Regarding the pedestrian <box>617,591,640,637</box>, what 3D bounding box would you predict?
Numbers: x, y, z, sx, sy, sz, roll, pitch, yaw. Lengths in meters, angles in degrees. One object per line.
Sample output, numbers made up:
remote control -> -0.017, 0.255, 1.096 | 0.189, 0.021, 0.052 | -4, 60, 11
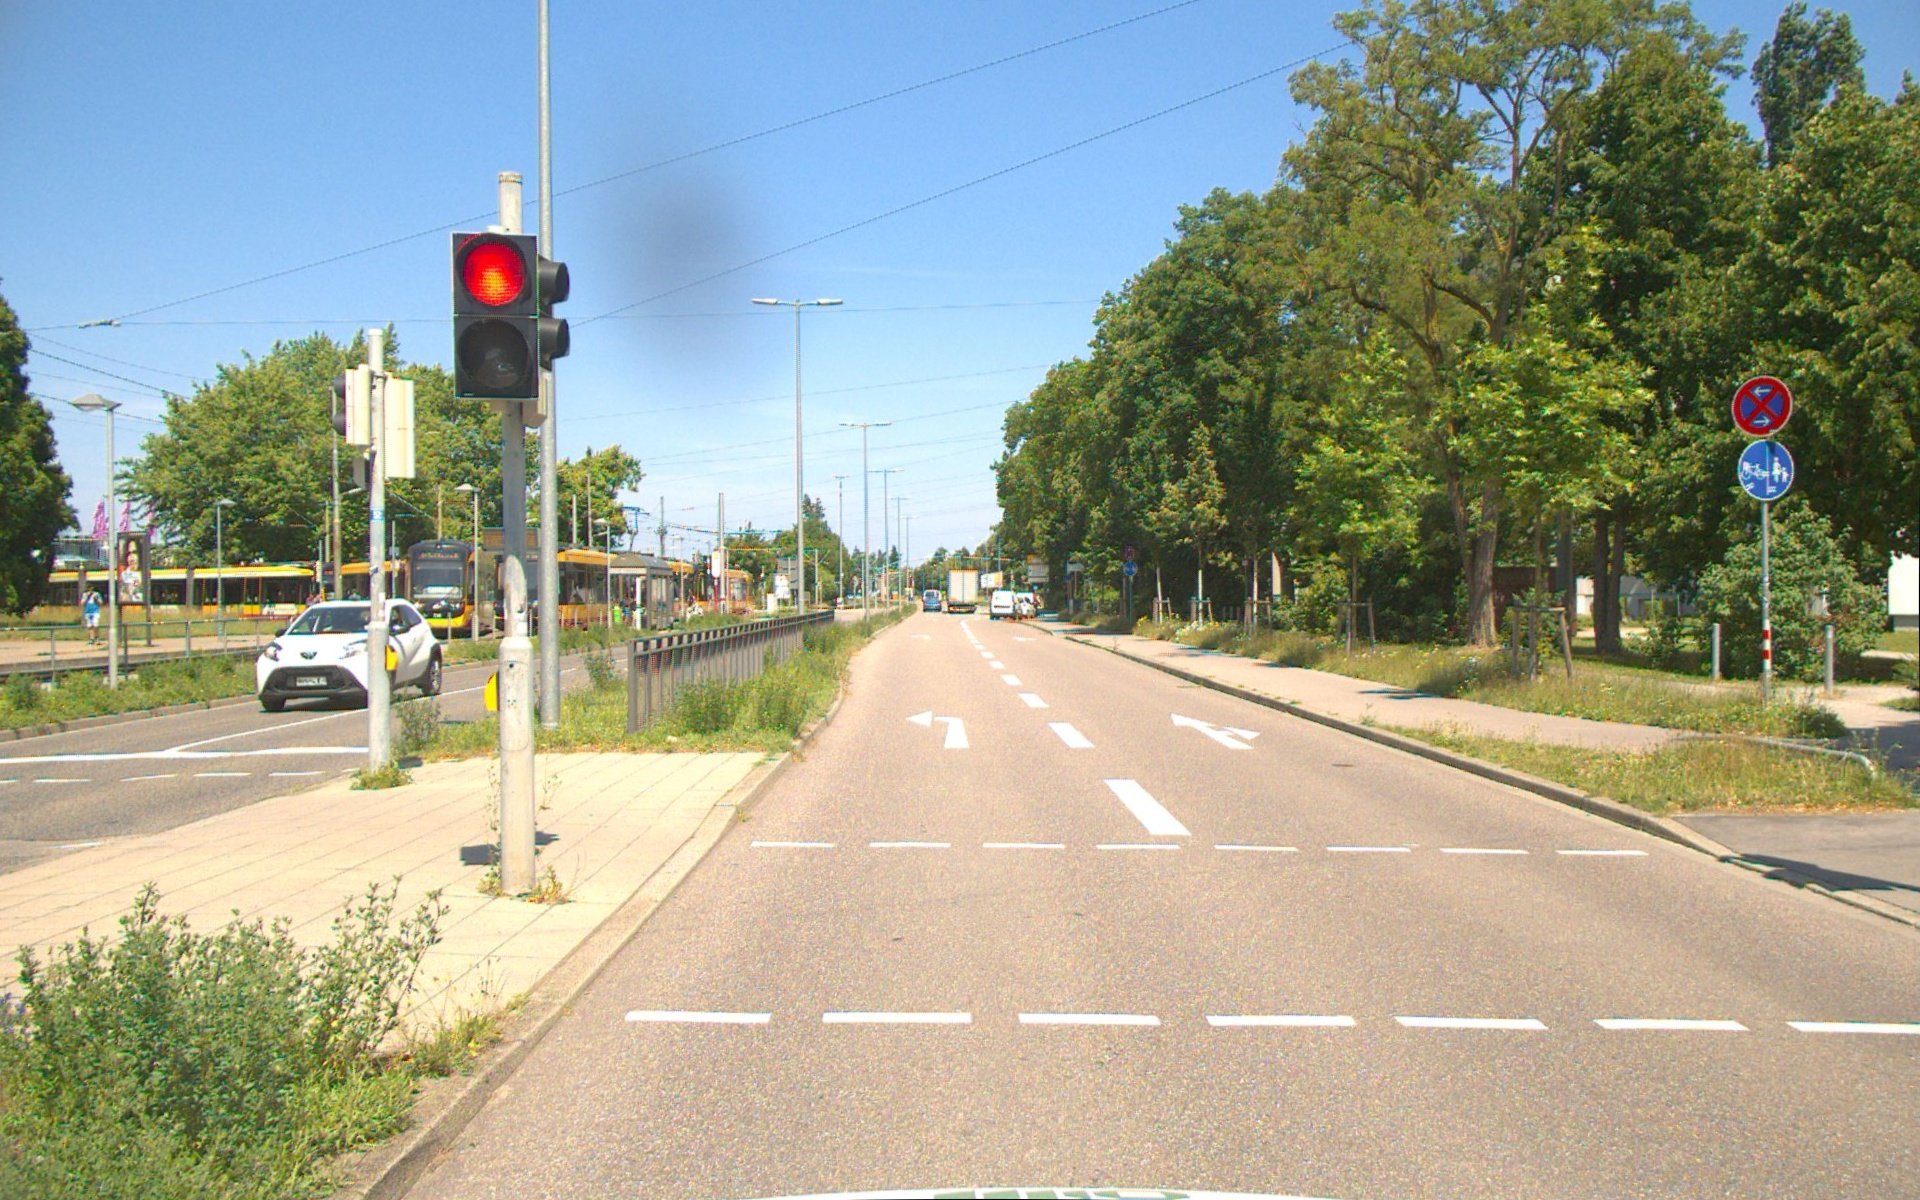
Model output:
pedestrian -> -13.848, 0.589, 69.082 | 0.769, 1.901, 0.817 | 0, 0, -1

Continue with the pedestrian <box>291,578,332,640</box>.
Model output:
pedestrian -> -21.663, 0.307, 55.290 | 0.961, 2.049, 1.021 | 0, 0, -1

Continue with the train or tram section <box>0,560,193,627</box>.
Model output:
train or tram section -> -55.872, -0.397, 105.131 | 18.096, 4.000, 3.220 | 0, 0, 30

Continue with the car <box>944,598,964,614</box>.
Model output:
car -> -0.588, 0.555, 153.601 | 1.774, 1.490, 3.999 | 0, 0, -1

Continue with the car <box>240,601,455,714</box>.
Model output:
car -> -8.942, 0.783, 24.482 | 1.807, 1.521, 3.790 | 0, 0, -1

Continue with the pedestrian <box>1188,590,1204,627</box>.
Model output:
pedestrian -> 9.528, 0.346, 66.761 | 0.591, 1.463, 0.556 | 0, 0, 6

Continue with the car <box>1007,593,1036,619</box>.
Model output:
car -> 4.184, 0.393, 112.504 | 1.743, 1.698, 3.999 | 0, 0, -1

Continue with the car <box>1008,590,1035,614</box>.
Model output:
car -> 4.408, 0.112, 118.855 | 1.743, 1.698, 3.999 | 0, 0, -1

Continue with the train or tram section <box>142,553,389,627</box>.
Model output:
train or tram section -> -40.508, -0.538, 95.918 | 18.101, 4.000, 3.219 | 0, 0, 31

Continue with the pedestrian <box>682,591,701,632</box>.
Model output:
pedestrian -> -13.741, 0.586, 84.730 | 0.798, 2.049, 0.938 | 0, 0, -1

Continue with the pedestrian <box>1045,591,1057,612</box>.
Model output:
pedestrian -> 9.060, 0.162, 164.931 | 1.161, 2.049, 1.213 | 0, 0, -1

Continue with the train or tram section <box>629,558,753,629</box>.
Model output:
train or tram section -> -16.588, -0.413, 105.972 | 2.871, 3.856, 33.082 | 0, 0, -1

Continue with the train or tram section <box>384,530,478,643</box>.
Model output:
train or tram section -> -21.424, -0.511, 67.623 | 3.164, 4.000, 18.414 | 0, 0, -17

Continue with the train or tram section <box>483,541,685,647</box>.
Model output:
train or tram section -> -16.030, -0.278, 74.505 | 2.898, 3.815, 30.024 | 0, 0, -1

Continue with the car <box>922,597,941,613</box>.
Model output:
car -> -2.683, 0.514, 157.837 | 1.774, 1.490, 3.999 | 0, 0, -1

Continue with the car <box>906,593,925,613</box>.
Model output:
car -> -4.695, 0.323, 175.090 | 1.953, 2.049, 3.999 | 0, 0, -1

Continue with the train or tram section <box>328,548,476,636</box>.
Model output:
train or tram section -> -28.742, -0.385, 84.279 | 3.184, 4.000, 18.299 | 0, 0, -31

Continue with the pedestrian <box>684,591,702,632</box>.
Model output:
pedestrian -> -13.464, 0.585, 83.440 | 0.798, 2.049, 0.938 | 0, 0, -1

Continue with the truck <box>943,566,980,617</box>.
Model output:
truck -> 0.073, -0.738, 146.066 | 3.140, 4.435, 6.559 | 0, 0, -1

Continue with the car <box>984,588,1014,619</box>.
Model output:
car -> 2.455, 0.215, 105.550 | 1.743, 1.937, 3.999 | 0, 0, -1

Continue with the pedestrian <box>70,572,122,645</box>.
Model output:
pedestrian -> -24.629, 0.245, 47.153 | 0.961, 2.049, 1.021 | 0, 0, -1
